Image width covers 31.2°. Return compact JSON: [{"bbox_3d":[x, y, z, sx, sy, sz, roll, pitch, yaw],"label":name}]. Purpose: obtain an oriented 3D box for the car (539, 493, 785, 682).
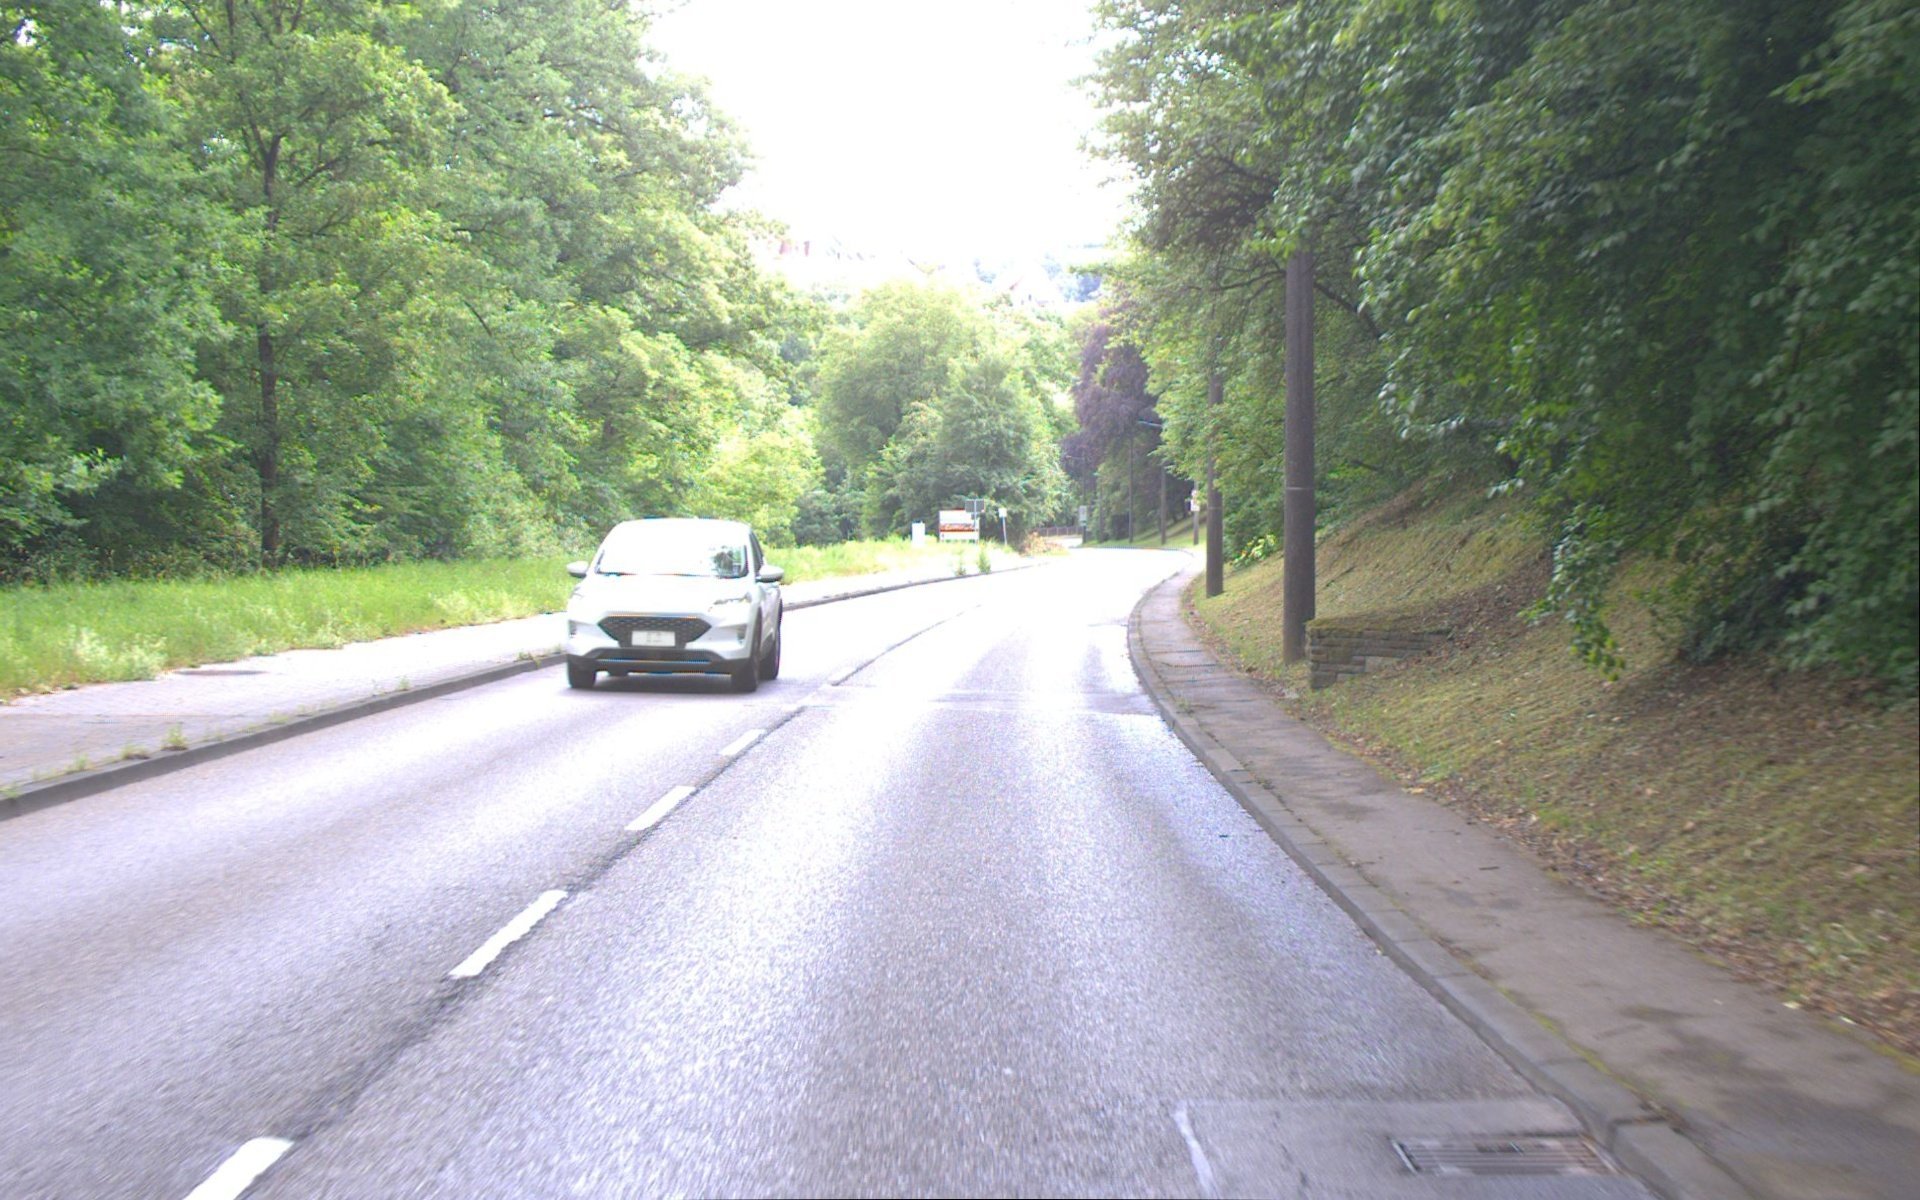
[{"bbox_3d":[-2.928,-0.133,34.774,1.993,1.747,4.782,1,0,1],"label":"car"}]
